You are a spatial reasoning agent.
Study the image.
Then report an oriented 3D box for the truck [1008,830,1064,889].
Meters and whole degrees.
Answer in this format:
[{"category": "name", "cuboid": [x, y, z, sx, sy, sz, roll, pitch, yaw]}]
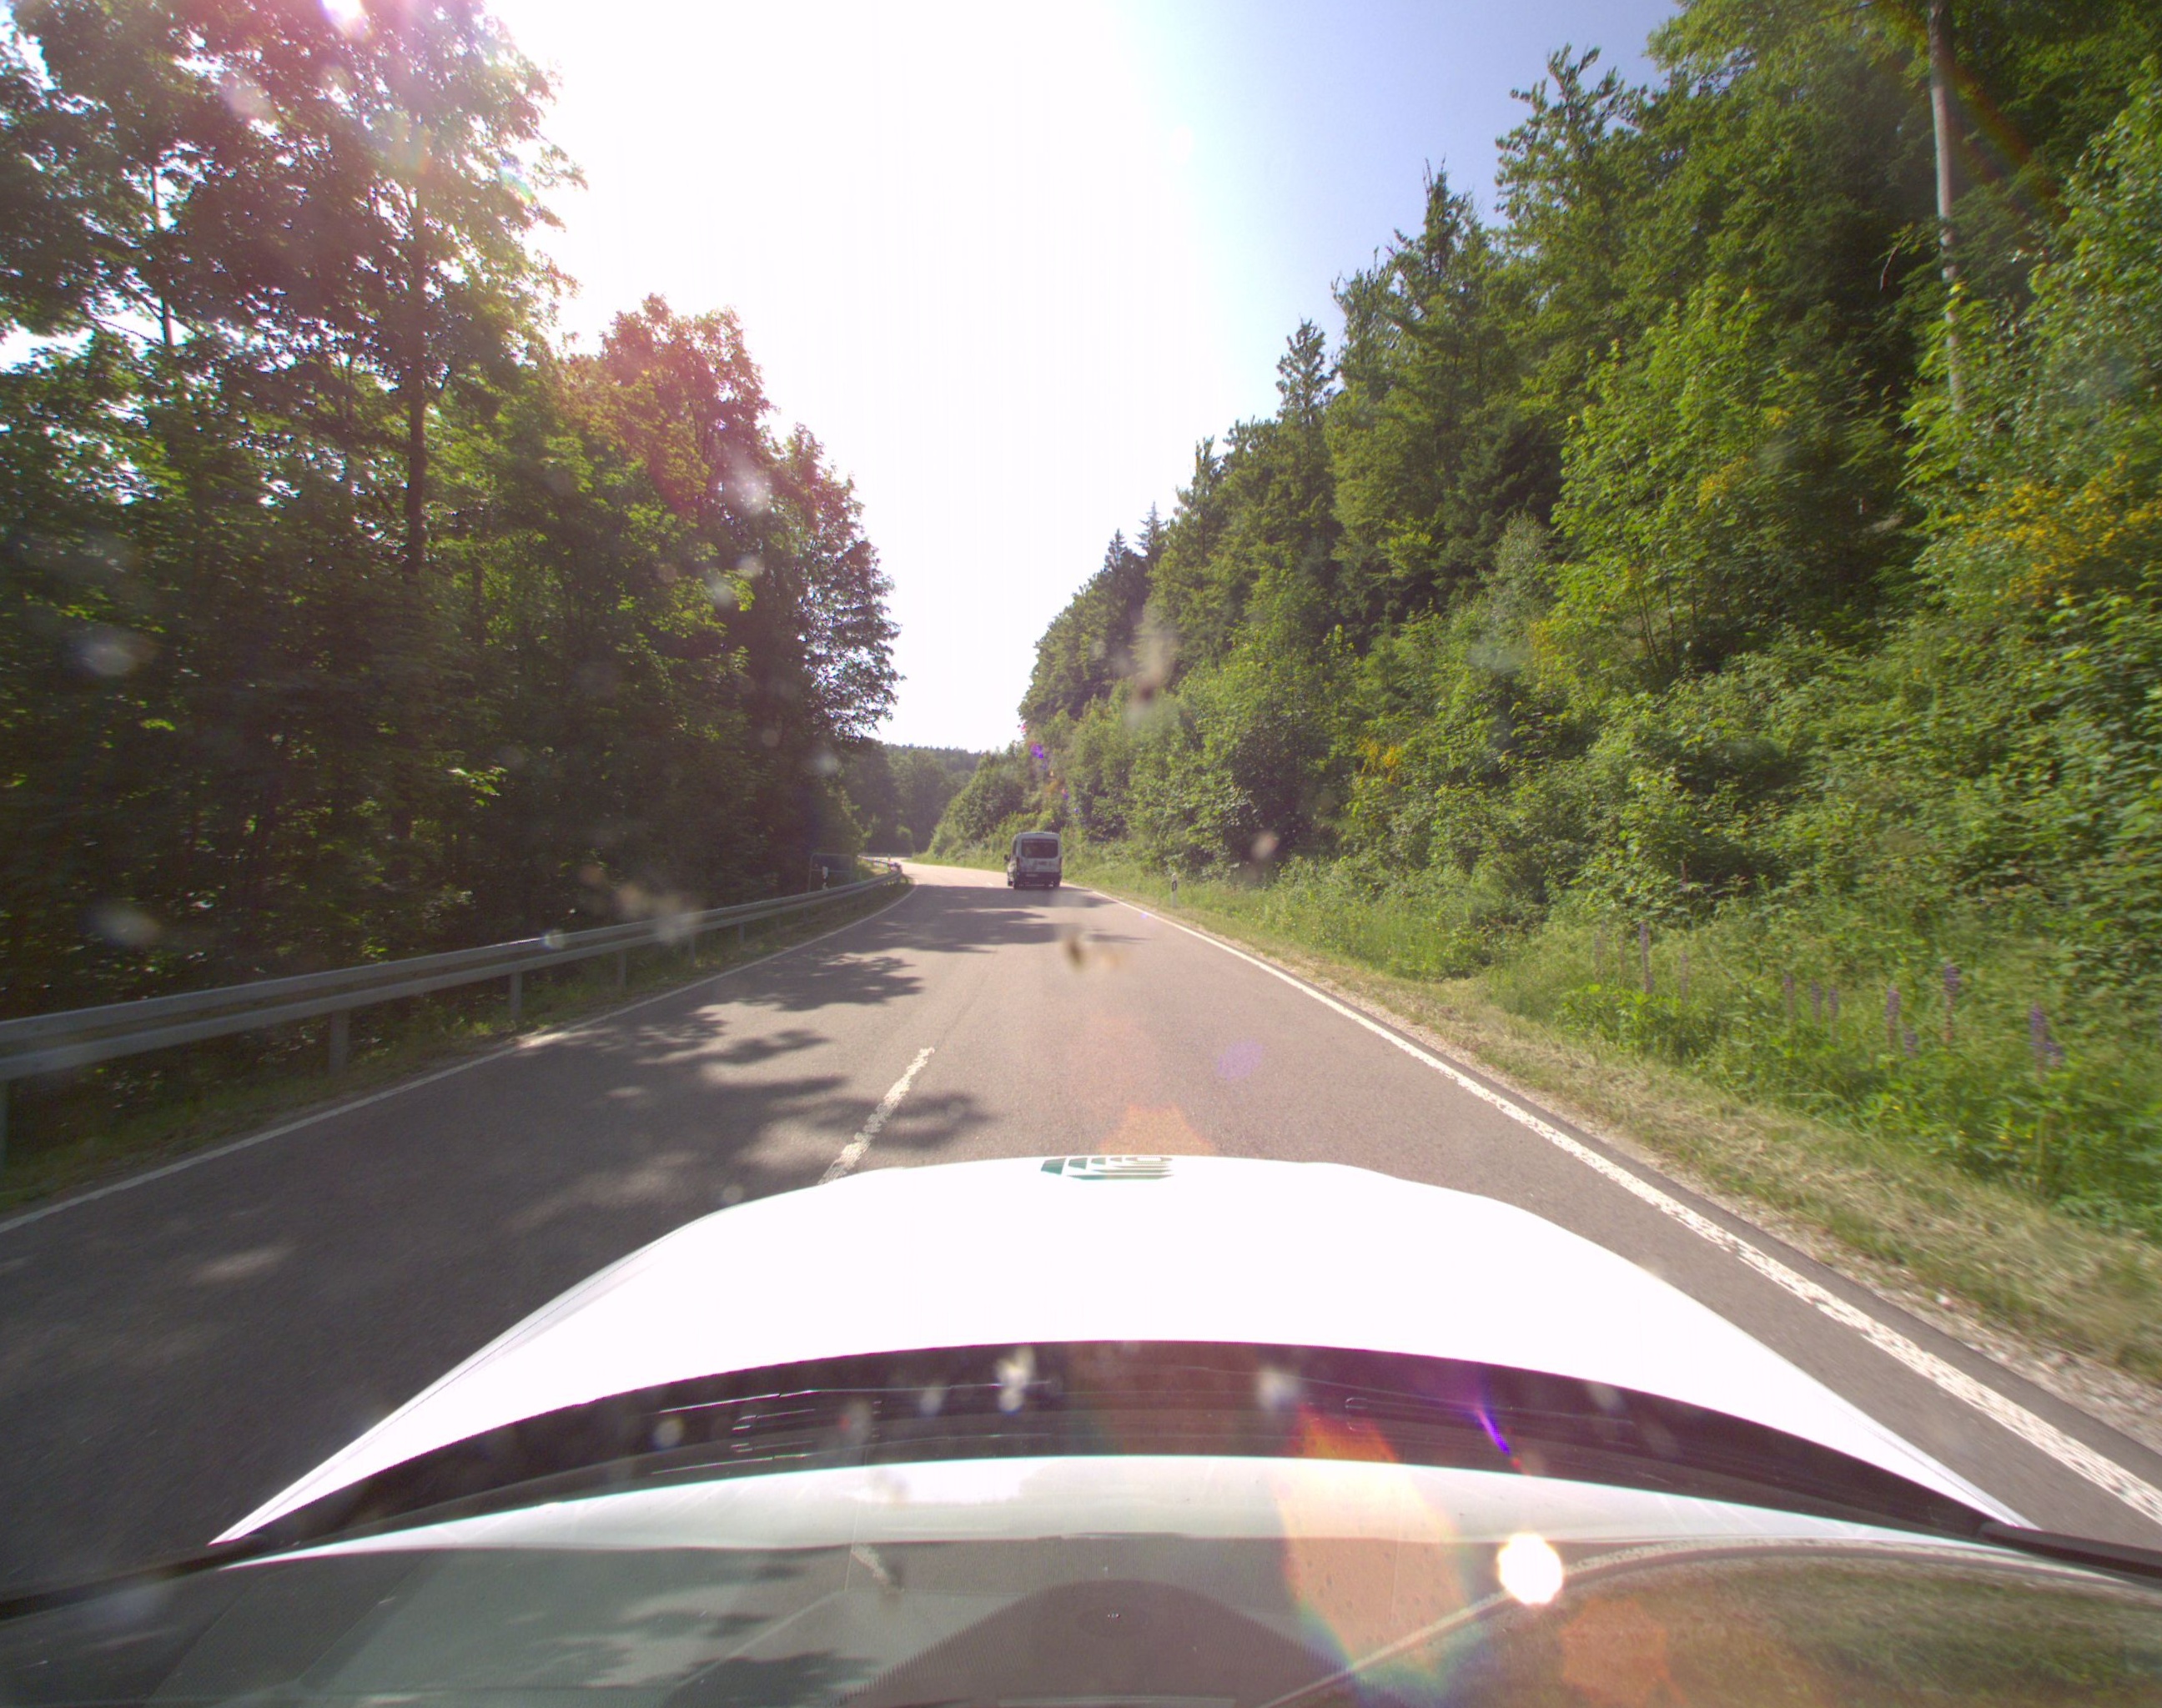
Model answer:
[{"category": "truck", "cuboid": [-2.130, 0.230, 37.025, 2.114, 2.498, 5.344, 0, 0, -8]}]
